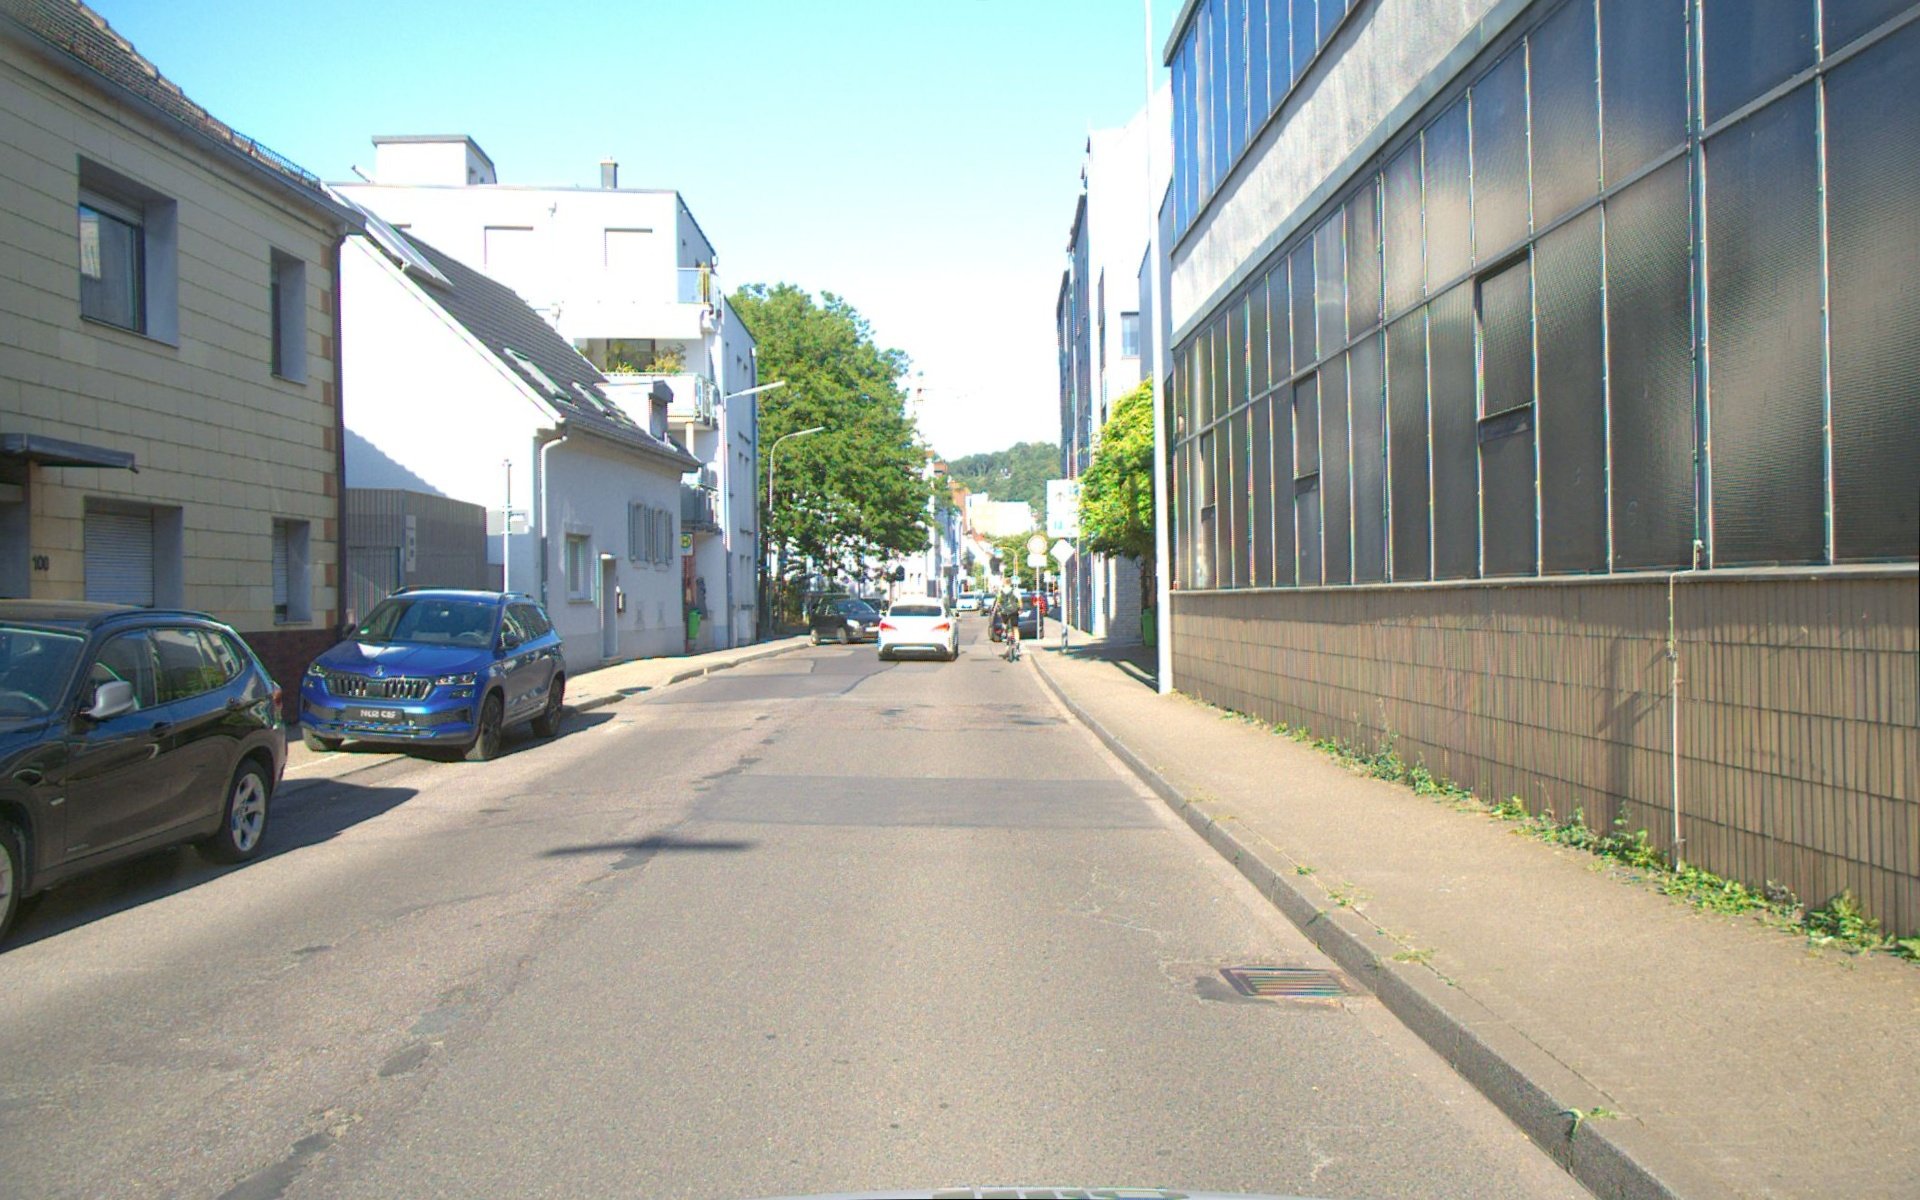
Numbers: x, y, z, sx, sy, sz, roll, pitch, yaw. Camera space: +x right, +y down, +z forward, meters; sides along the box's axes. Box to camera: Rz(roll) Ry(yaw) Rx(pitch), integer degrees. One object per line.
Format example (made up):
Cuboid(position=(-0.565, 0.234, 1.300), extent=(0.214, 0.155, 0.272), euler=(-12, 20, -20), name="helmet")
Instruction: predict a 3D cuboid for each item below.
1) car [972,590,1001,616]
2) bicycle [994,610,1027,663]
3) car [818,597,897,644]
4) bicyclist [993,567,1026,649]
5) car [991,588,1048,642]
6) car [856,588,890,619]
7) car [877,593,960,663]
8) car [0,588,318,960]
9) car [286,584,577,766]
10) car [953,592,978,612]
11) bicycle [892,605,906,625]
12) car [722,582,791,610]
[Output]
Cuboid(position=(1.899, 0.220, 120.214), extent=(1.816, 1.823, 4.605), euler=(-1, 0, -2), name="car")
Cuboid(position=(1.123, 0.802, 37.354), extent=(0.684, 1.150, 2.403), euler=(-1, 0, 1), name="bicycle")
Cuboid(position=(-3.528, 0.695, 56.107), extent=(1.812, 1.517, 4.125), euler=(-1, 0, -16), name="car")
Cuboid(position=(1.116, 0.177, 37.497), extent=(0.684, 1.821, 1.041), euler=(-1, -1, 1), name="bicyclist")
Cuboid(position=(1.955, 0.492, 55.328), extent=(1.597, 1.614, 4.068), euler=(-4, 0, -1), name="car")
Cuboid(position=(-4.764, 0.174, 91.188), extent=(1.669, 1.603, 3.913), euler=(-1, 0, -1), name="car")
Cuboid(position=(-0.967, 0.626, 38.674), extent=(1.805, 1.517, 4.143), euler=(-1, 0, -1), name="car")
Cuboid(position=(-5.174, 0.765, 8.792), extent=(1.819, 1.614, 4.336), euler=(0, 1, 0), name="car")
Cuboid(position=(-5.400, 0.679, 17.502), extent=(1.772, 1.614, 4.193), euler=(0, 2, -1), name="car")
Cuboid(position=(0.501, 0.197, 146.708), extent=(1.905, 1.614, 4.623), euler=(-4, 0, 3), name="car")
Cuboid(position=(-3.901, 0.940, 106.115), extent=(0.818, 1.239, 2.841), euler=(-1, 0, -1), name="bicycle")
Cuboid(position=(-12.266, -0.232, 99.689), extent=(3.818, 1.603, 1.711), euler=(-1, 0, 5), name="car")
